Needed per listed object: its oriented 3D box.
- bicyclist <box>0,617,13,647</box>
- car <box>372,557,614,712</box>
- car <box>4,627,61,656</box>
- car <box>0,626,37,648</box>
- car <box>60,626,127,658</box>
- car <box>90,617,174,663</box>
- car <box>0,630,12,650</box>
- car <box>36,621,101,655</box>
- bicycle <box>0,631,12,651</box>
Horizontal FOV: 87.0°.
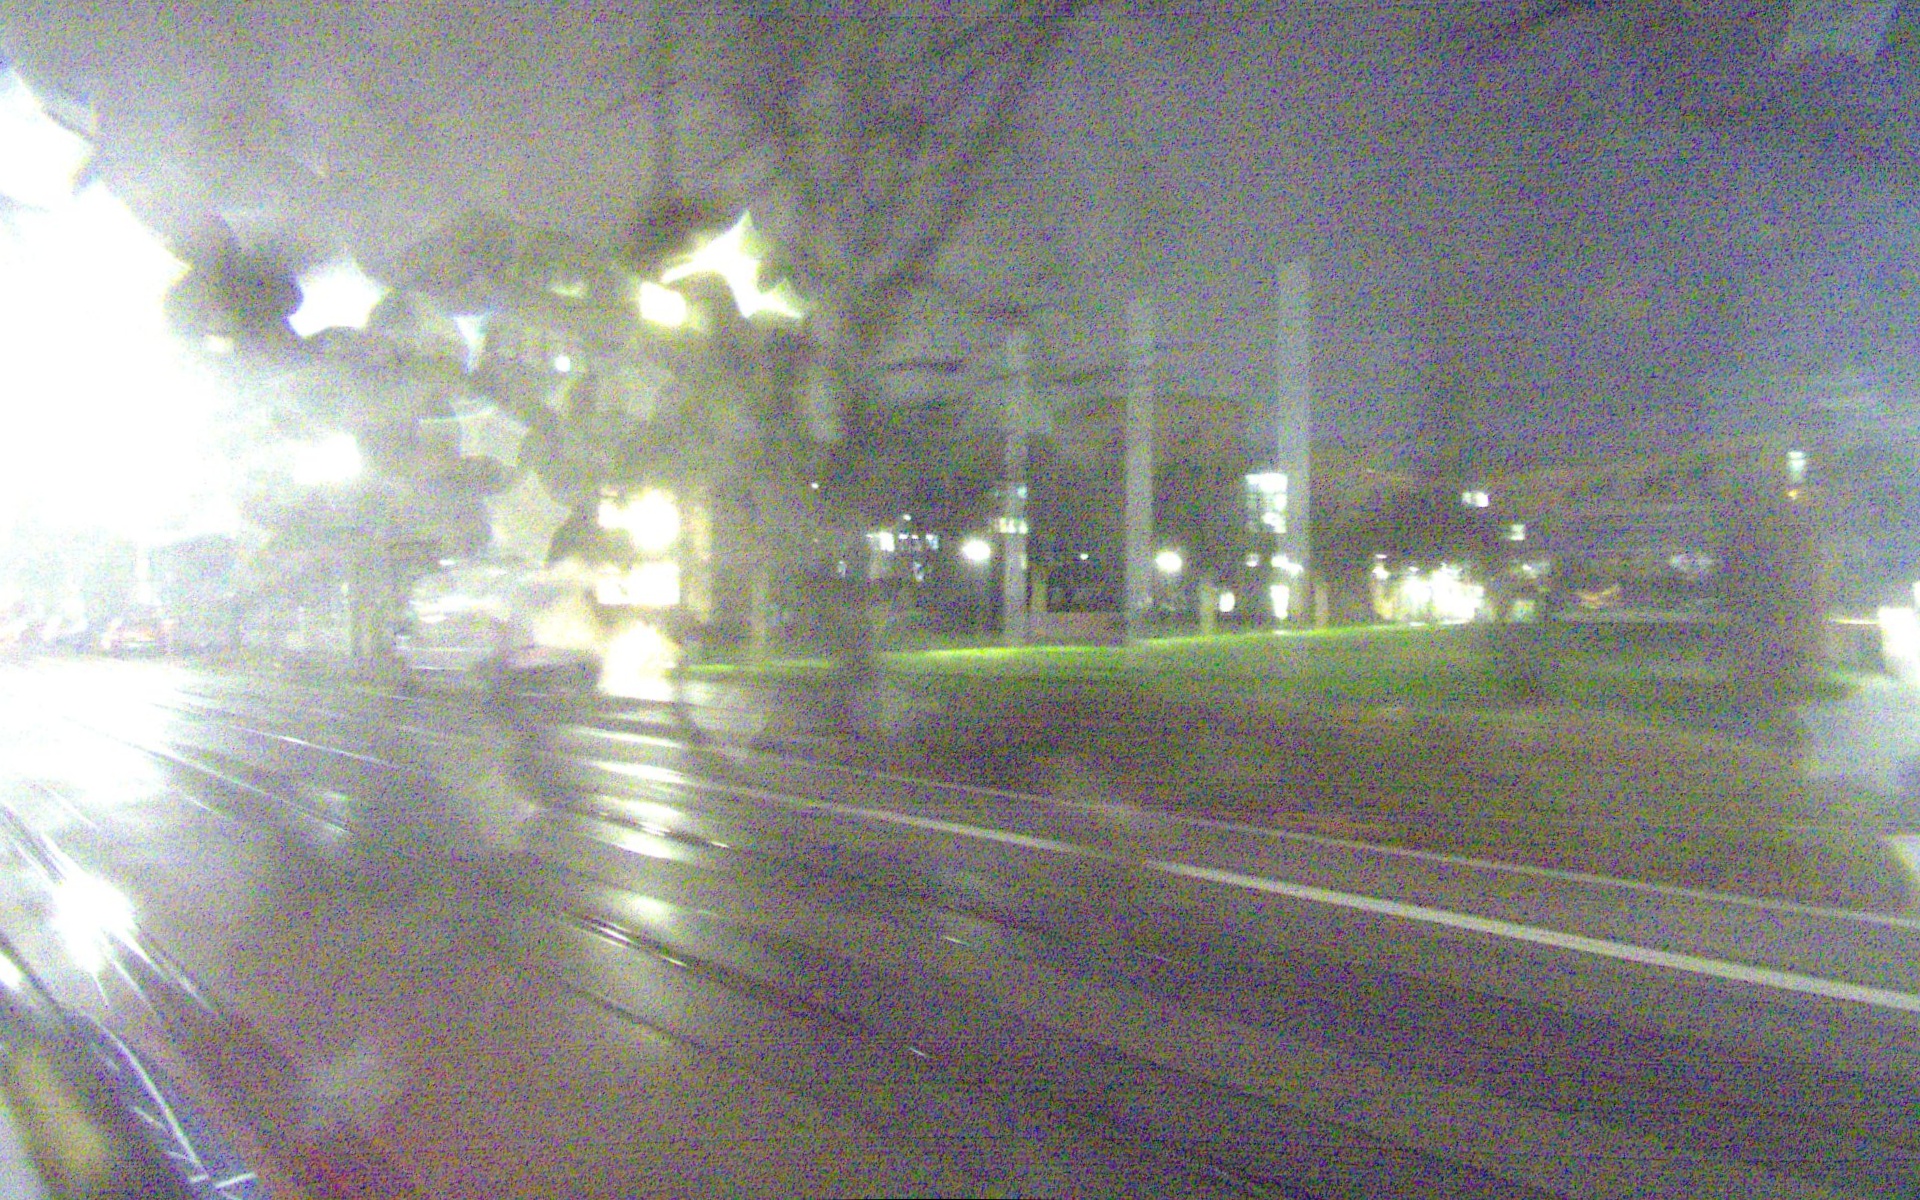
[{"bbox_3d":[-54.435,1.787,57.438,1.206,1.668,0.774,-1,-4,41],"label":"bicyclist"},{"bbox_3d":[-9.420,0.673,20.052,6.392,2.611,2.161,-2,-2,44],"label":"car"},{"bbox_3d":[-56.465,2.495,61.600,4.394,1.557,1.862,-1,2,39],"label":"car"},{"bbox_3d":[-65.860,2.540,70.136,4.951,1.474,1.870,-1,-2,37],"label":"car"},{"bbox_3d":[-40.871,1.978,47.700,3.909,1.432,1.674,-2,-3,38],"label":"car"},{"bbox_3d":[-32.874,1.531,40.142,4.601,1.668,1.948,-1,1,43],"label":"car"},{"bbox_3d":[-73.617,3.041,76.800,4.204,1.434,1.822,-1,-2,38],"label":"car"},{"bbox_3d":[-46.408,1.931,52.663,4.515,1.643,1.962,-1,-1,41],"label":"car"},{"bbox_3d":[-54.450,2.308,57.414,1.917,1.090,0.774,-1,-4,42],"label":"bicycle"}]
